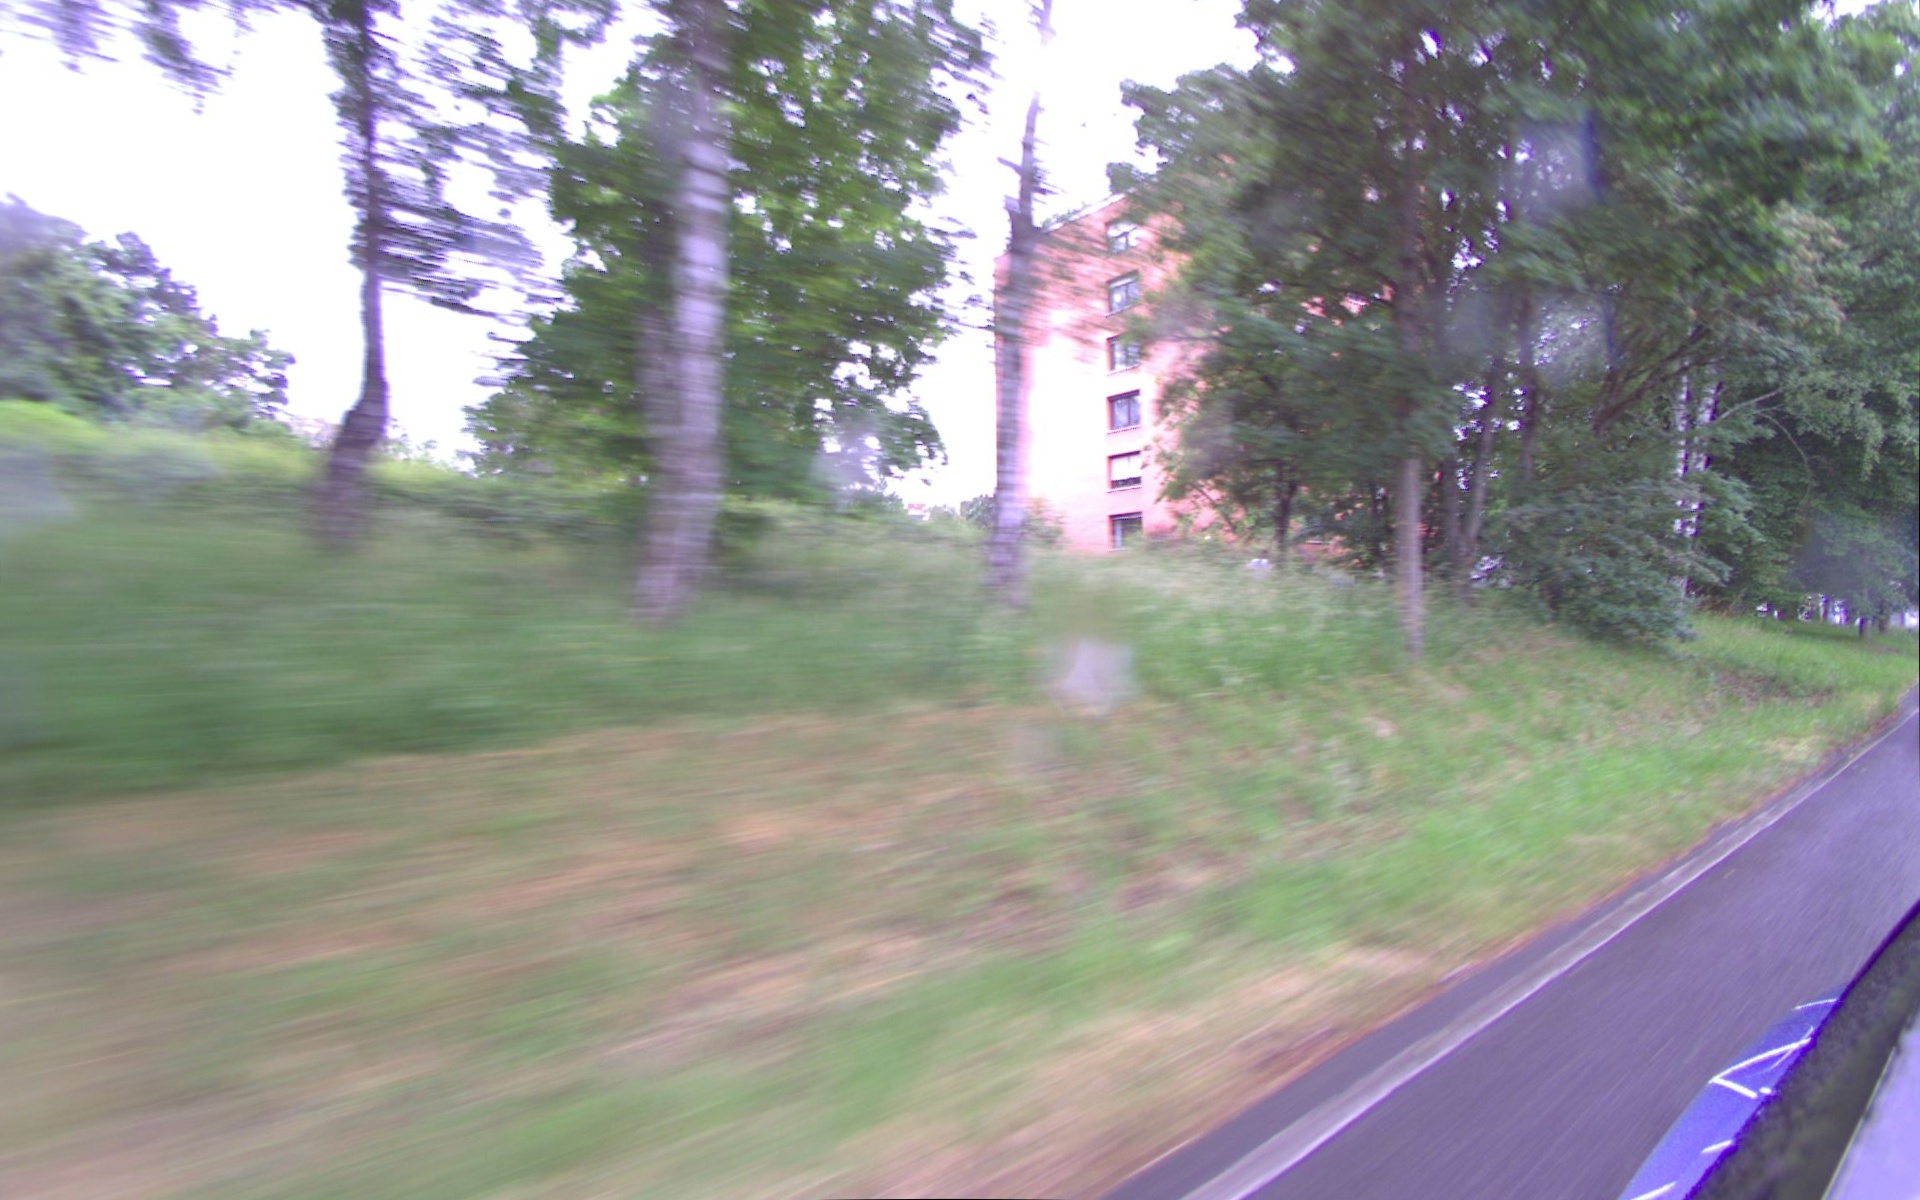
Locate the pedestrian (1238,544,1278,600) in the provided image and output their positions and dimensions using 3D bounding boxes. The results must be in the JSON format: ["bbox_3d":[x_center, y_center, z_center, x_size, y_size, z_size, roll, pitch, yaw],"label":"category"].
[{"bbox_3d":[7.172,-0.674,24.376,0.613,1.300,0.656,2,0,-38],"label":"pedestrian"}]
